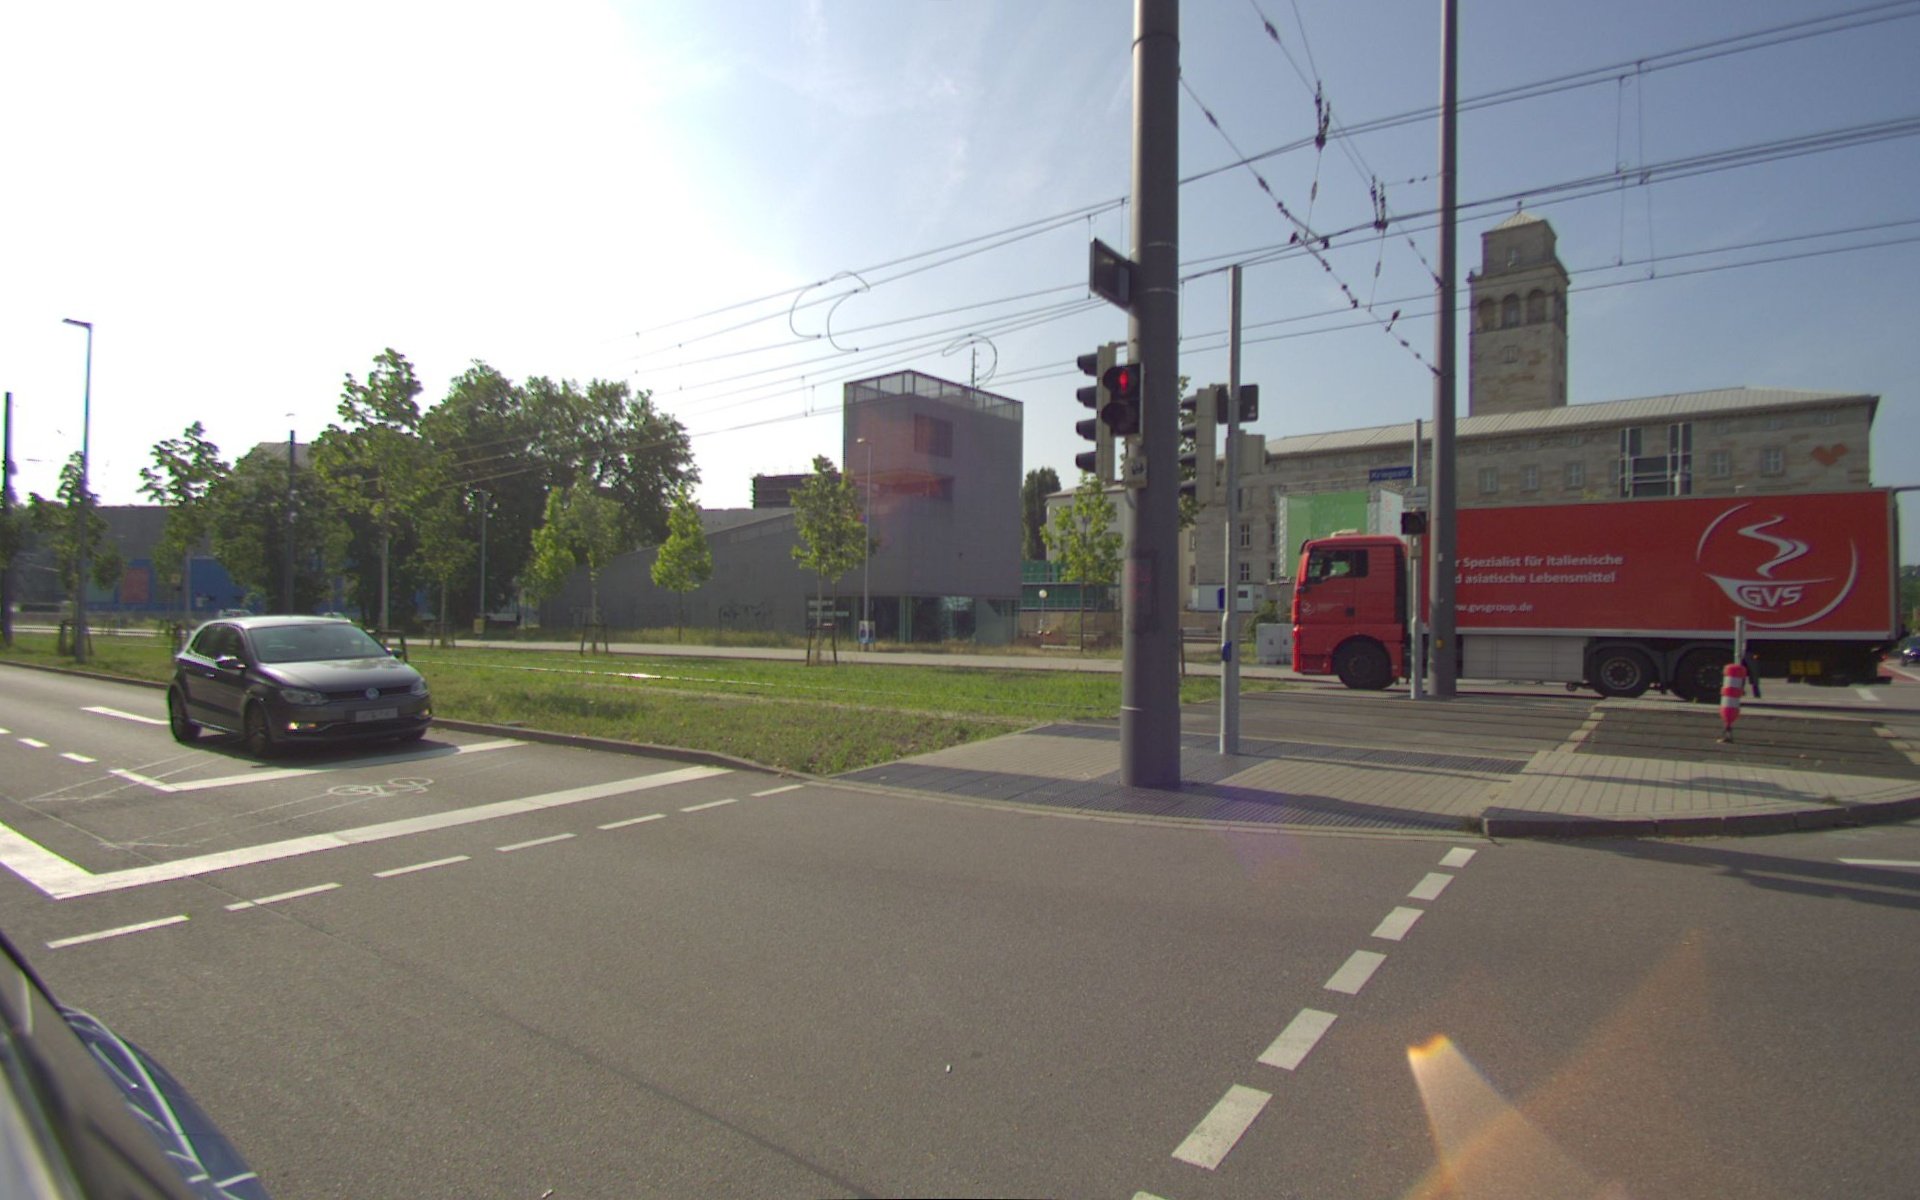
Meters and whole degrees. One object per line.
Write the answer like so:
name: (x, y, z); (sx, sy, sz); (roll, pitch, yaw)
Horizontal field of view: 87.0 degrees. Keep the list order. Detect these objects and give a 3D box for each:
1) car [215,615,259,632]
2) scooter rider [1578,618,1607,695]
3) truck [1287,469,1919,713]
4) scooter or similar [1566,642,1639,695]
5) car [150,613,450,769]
car: (-77.816, 2.531, 108.871); (4.803, 1.781, 1.999); (-1, -1, 29)
scooter rider: (14.398, 1.268, 23.044); (0.548, 1.711, 0.533); (-1, -2, 32)
truck: (12.014, -0.076, 19.657); (10.389, 3.838, 2.949); (-1, -1, 32)
scooter or similar: (14.549, 1.535, 22.950); (1.378, 1.155, 0.535); (-1, -2, 31)
car: (-7.599, 0.905, 11.531); (3.864, 1.443, 1.688); (-1, 1, 38)
